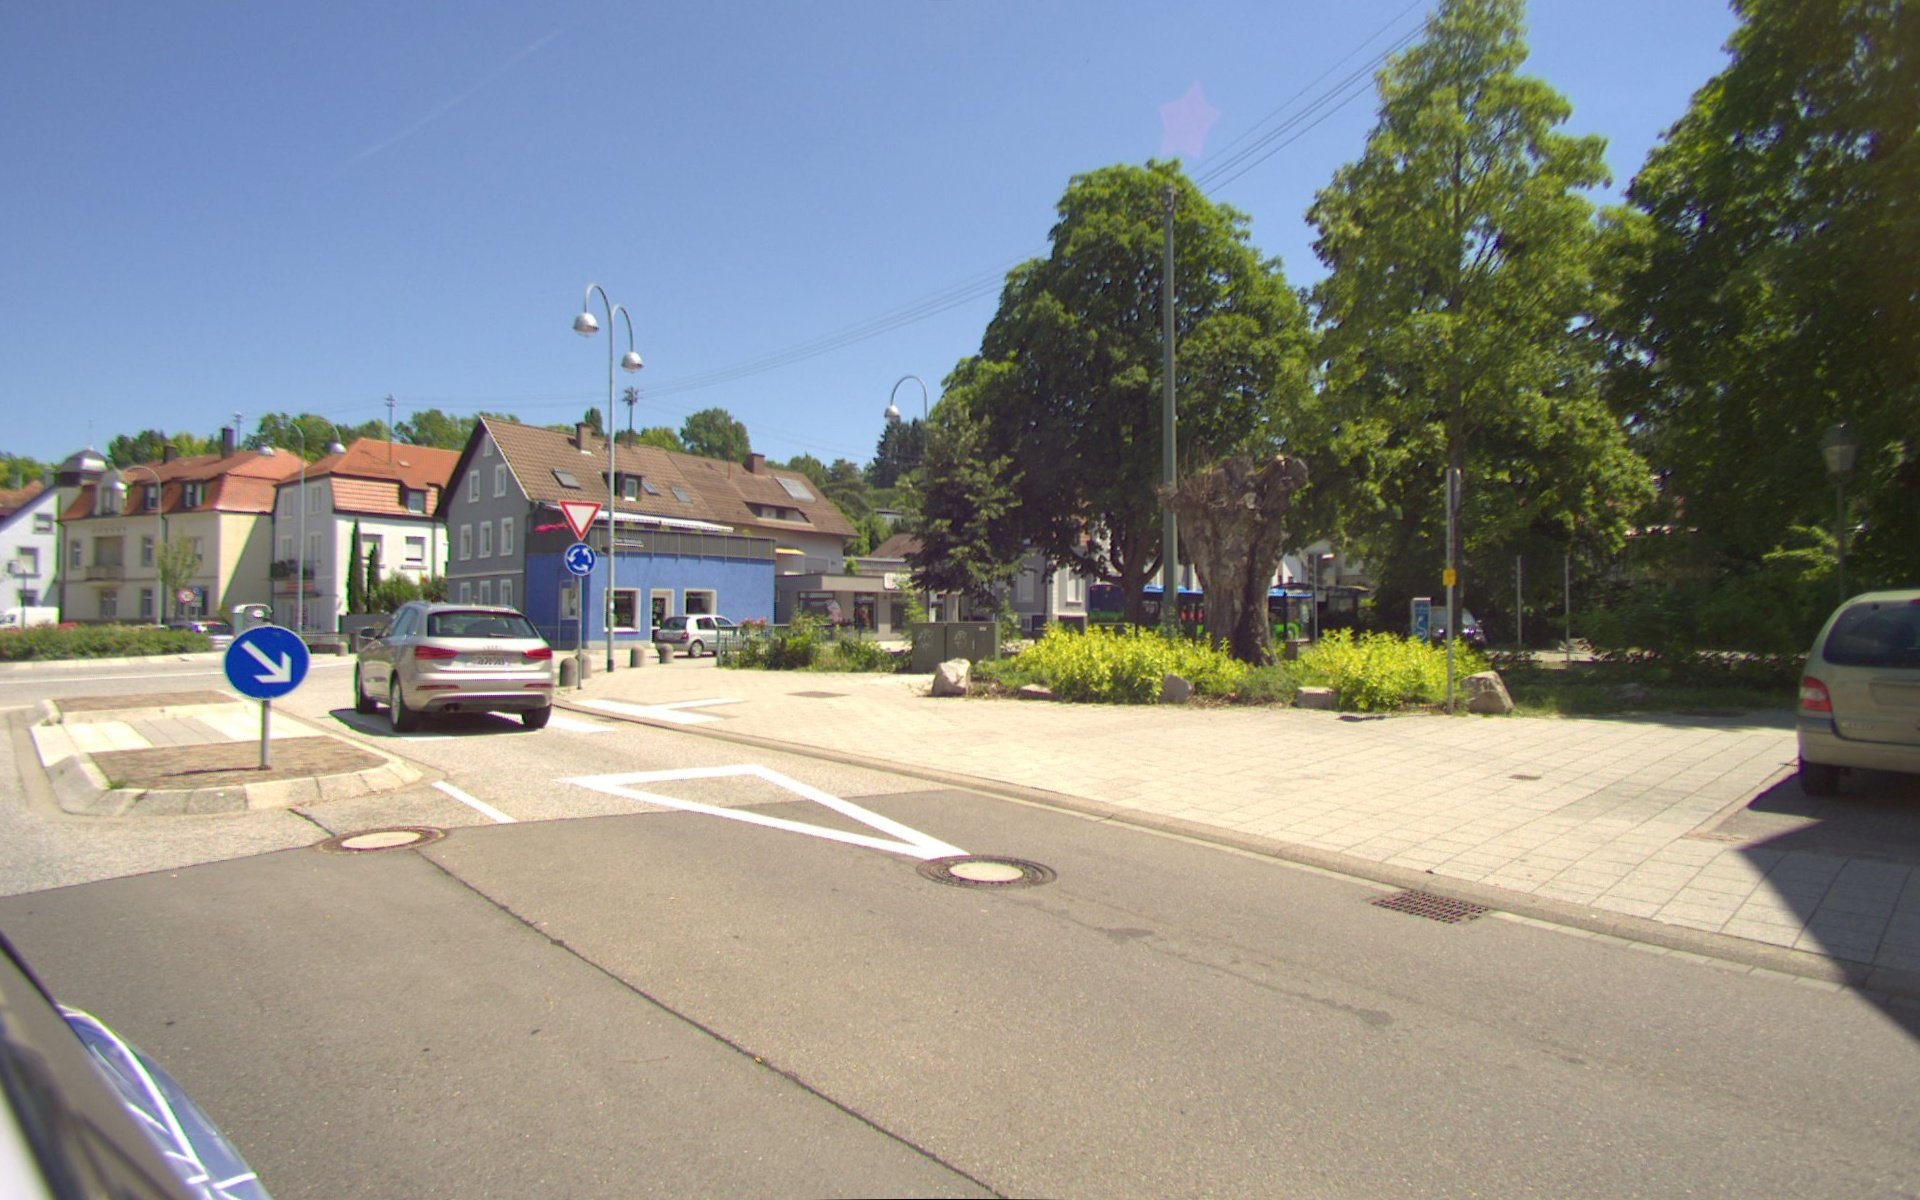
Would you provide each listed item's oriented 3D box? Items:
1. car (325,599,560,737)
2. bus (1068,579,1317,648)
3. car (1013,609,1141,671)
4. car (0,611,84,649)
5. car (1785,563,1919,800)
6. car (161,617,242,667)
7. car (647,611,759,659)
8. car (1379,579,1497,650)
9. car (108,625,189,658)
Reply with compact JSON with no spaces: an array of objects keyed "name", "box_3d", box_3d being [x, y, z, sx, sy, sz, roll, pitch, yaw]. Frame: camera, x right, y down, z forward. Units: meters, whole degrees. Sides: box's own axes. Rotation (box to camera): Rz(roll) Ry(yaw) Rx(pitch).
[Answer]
[{"name":"car","box_3d":[-6.969,0.829,13.422,1.655,1.555,4.087,3,-3,-43]},{"name":"bus","box_3d":[13.070,0.727,54.391,17.794,3.195,3.723,1,0,-43]},{"name":"car","box_3d":[3.163,1.073,27.503,3.050,1.564,1.616,-2,-1,33]},{"name":"car","box_3d":[-70.081,2.227,75.425,2.377,2.764,6.952,-2,-2,41]},{"name":"car","box_3d":[8.275,0.571,8.244,3.938,1.652,1.760,0,-1,-41]},{"name":"car","box_3d":[-27.597,1.538,36.769,4.209,1.528,1.721,-6,-3,44]},{"name":"car","box_3d":[-8.509,1.130,33.802,1.542,1.423,3.684,-4,-1,27]},{"name":"car","box_3d":[14.564,0.449,31.093,1.975,2.029,3.993,-1,-1,6]},{"name":"car","box_3d":[-38.423,1.944,47.917,4.062,1.402,1.593,-1,1,30]}]
